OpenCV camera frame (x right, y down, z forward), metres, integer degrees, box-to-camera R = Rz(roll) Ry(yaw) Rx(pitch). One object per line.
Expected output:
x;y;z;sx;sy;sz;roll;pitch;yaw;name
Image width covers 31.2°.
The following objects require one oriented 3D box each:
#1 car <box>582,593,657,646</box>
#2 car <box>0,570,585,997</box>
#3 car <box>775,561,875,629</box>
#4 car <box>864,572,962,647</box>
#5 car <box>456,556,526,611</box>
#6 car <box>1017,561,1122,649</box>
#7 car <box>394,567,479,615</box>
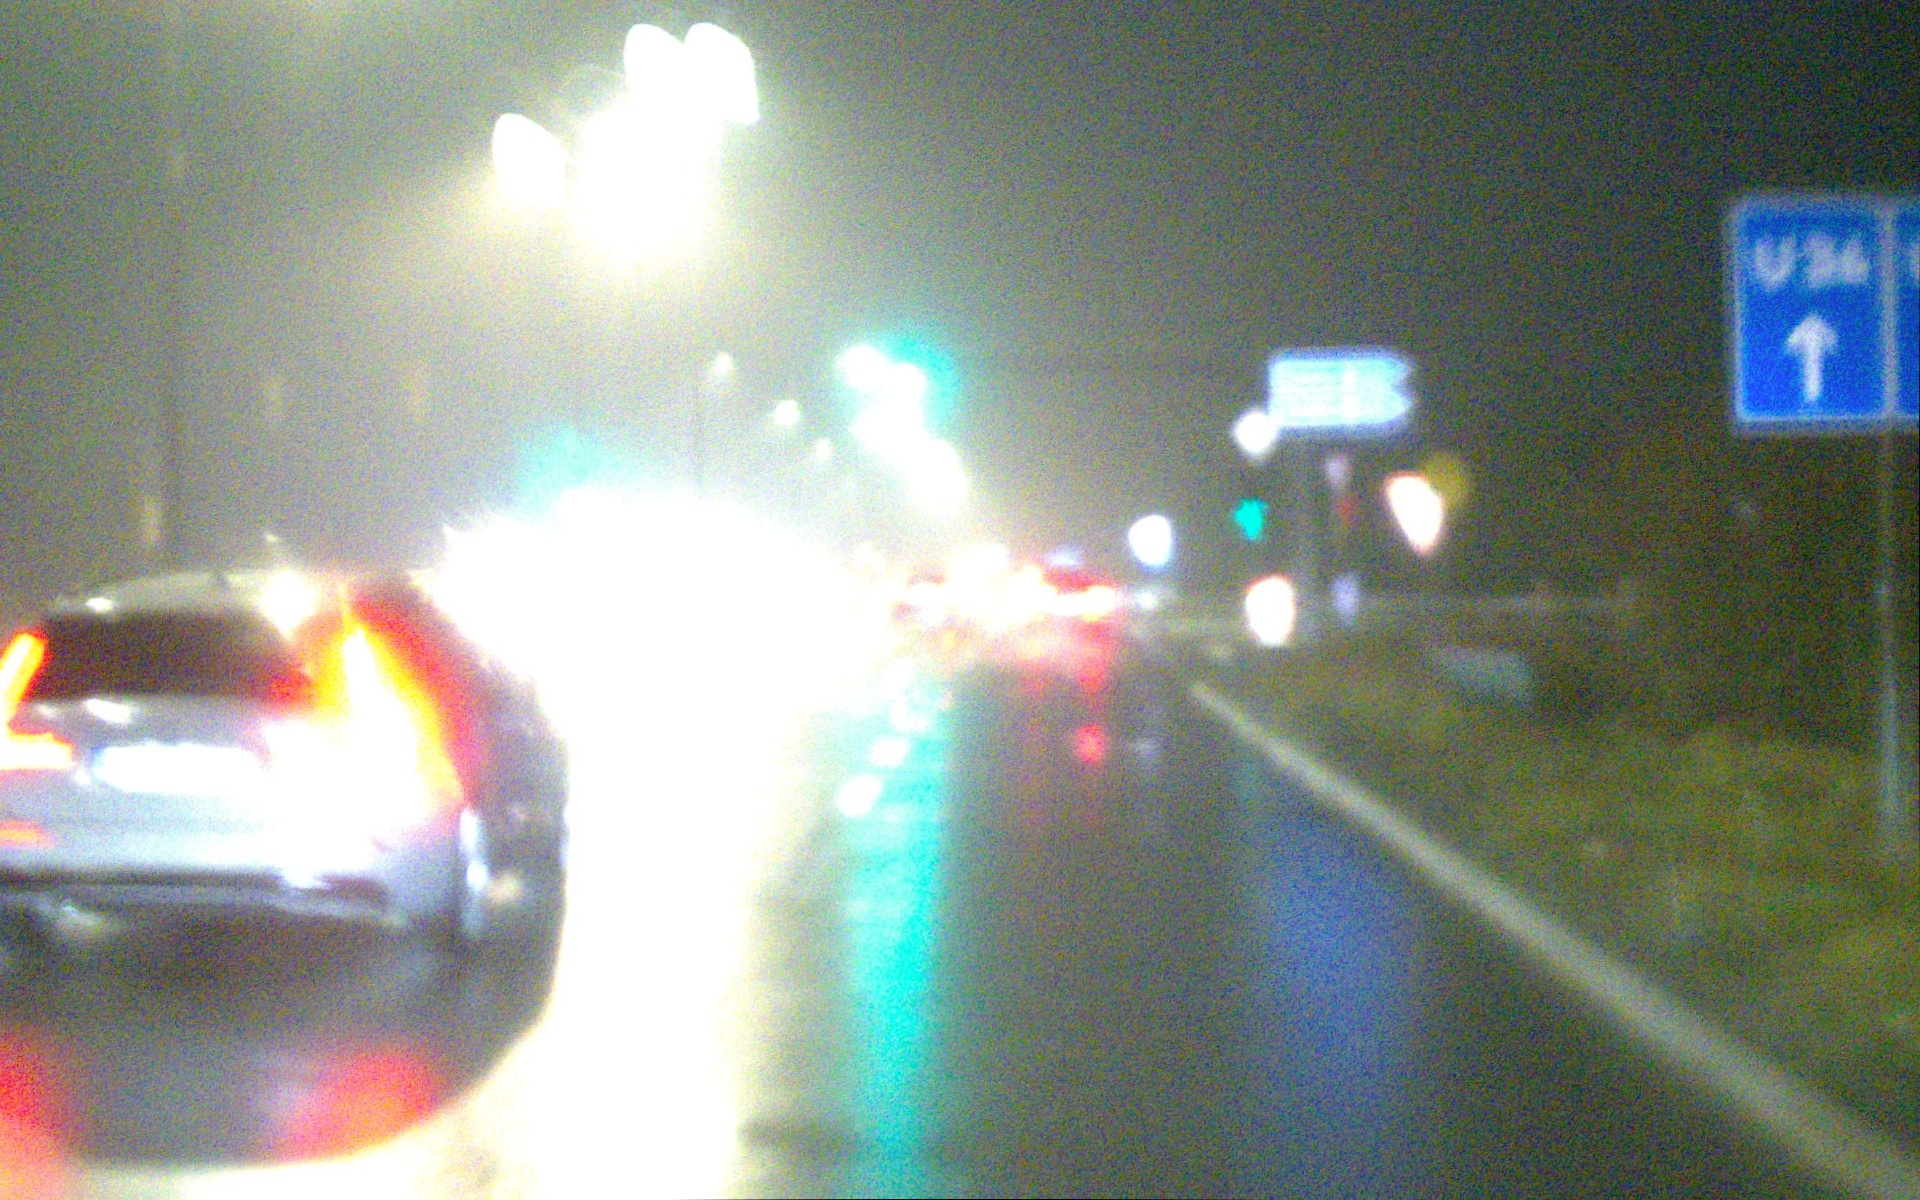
-9.488;0.526;96.014;1.589;1.422;3.350;1;1;3;car
-2.724;0.649;13.879;1.796;1.447;4.268;-1;-1;2;car
-3.747;-0.123;96.236;2.178;1.596;3.999;5;-2;5;car
-1.172;0.256;87.591;2.178;1.596;3.999;5;-2;2;car
-16.467;-0.579;120.820;1.762;1.886;4.205;0;1;1;car
2.380;0.129;73.689;1.910;1.596;3.999;5;-2;5;car
-13.670;-0.247;89.938;1.643;1.199;3.615;0;1;0;car
